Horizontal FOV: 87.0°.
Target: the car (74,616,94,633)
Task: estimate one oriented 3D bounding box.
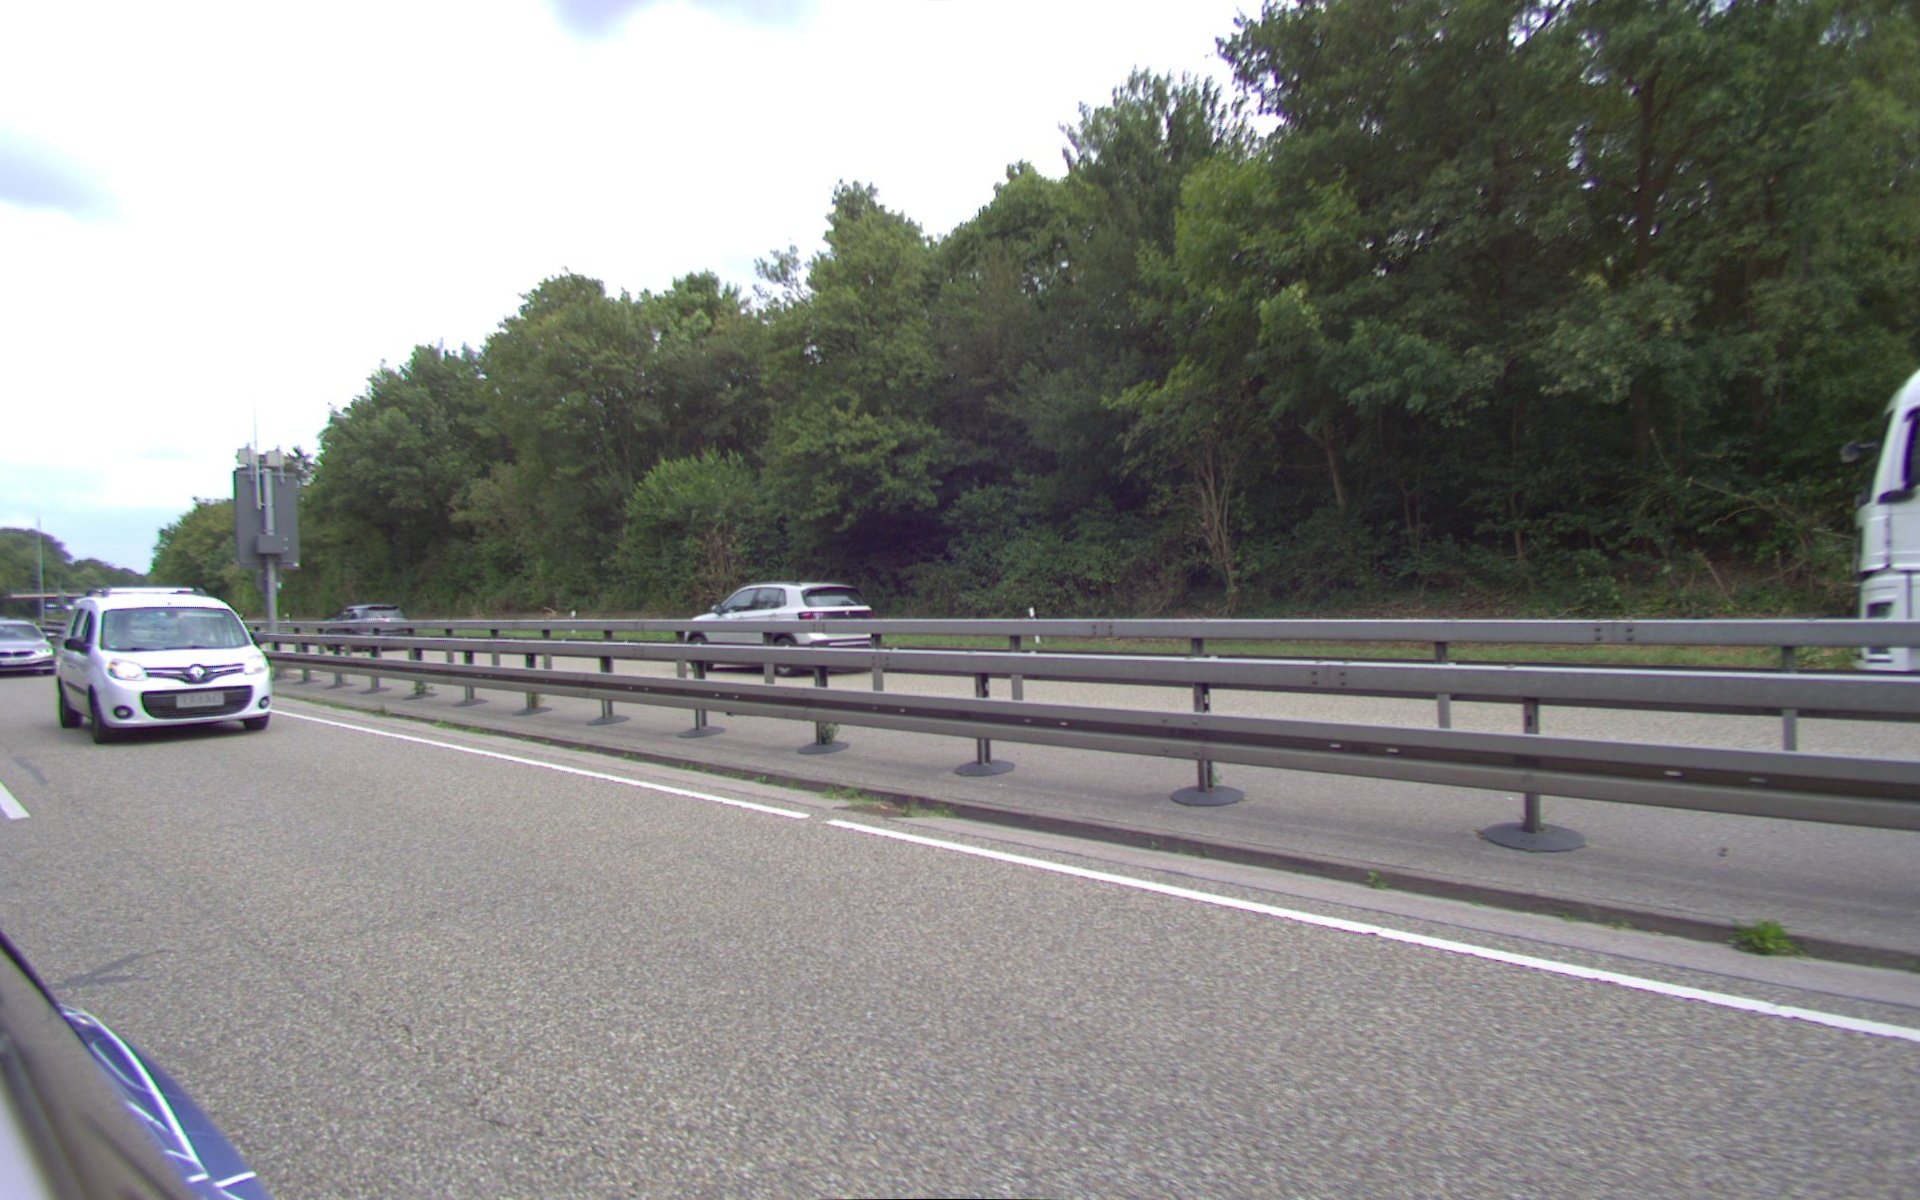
[{"bbox_3d":[-122.315,3.383,141.241,2.041,2.273,5.382,0,-1,-42],"label":"car"}]

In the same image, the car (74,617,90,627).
[{"bbox_3d":[-142.877,3.533,164.641,1.761,1.575,4.017,0,-1,-45],"label":"car"}]

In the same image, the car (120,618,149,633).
[{"bbox_3d":[-81.489,2.492,99.891,4.090,1.478,1.675,-1,-1,44],"label":"car"}]

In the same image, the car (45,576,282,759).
[{"bbox_3d":[-10.629,0.787,13.386,4.423,2.020,1.797,-1,-1,43],"label":"car"}]

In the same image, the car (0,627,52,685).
[{"bbox_3d":[-25.370,1.446,26.759,4.199,1.435,1.748,-1,-1,44],"label":"car"}]

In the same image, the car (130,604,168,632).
[{"bbox_3d":[-67.840,1.508,84.590,1.913,2.339,5.308,0,-1,-45],"label":"car"}]

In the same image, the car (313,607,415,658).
[{"bbox_3d":[-18.475,0.979,31.322,3.775,1.457,1.690,-1,-1,42],"label":"car"}]

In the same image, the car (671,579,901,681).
[{"bbox_3d":[-3.110,0.501,17.602,4.127,1.561,1.773,-1,-1,41],"label":"car"}]

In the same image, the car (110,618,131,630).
[{"bbox_3d":[-104.011,2.973,125.321,1.969,1.521,4.512,0,-1,-40],"label":"car"}]

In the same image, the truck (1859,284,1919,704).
[{"bbox_3d":[12.013,-1.066,9.375,5.318,4.094,2.665,-1,-1,40],"label":"truck"}]

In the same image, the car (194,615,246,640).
[{"bbox_3d":[-46.620,1.703,63.745,4.132,1.492,1.971,-1,-1,44],"label":"car"}]
